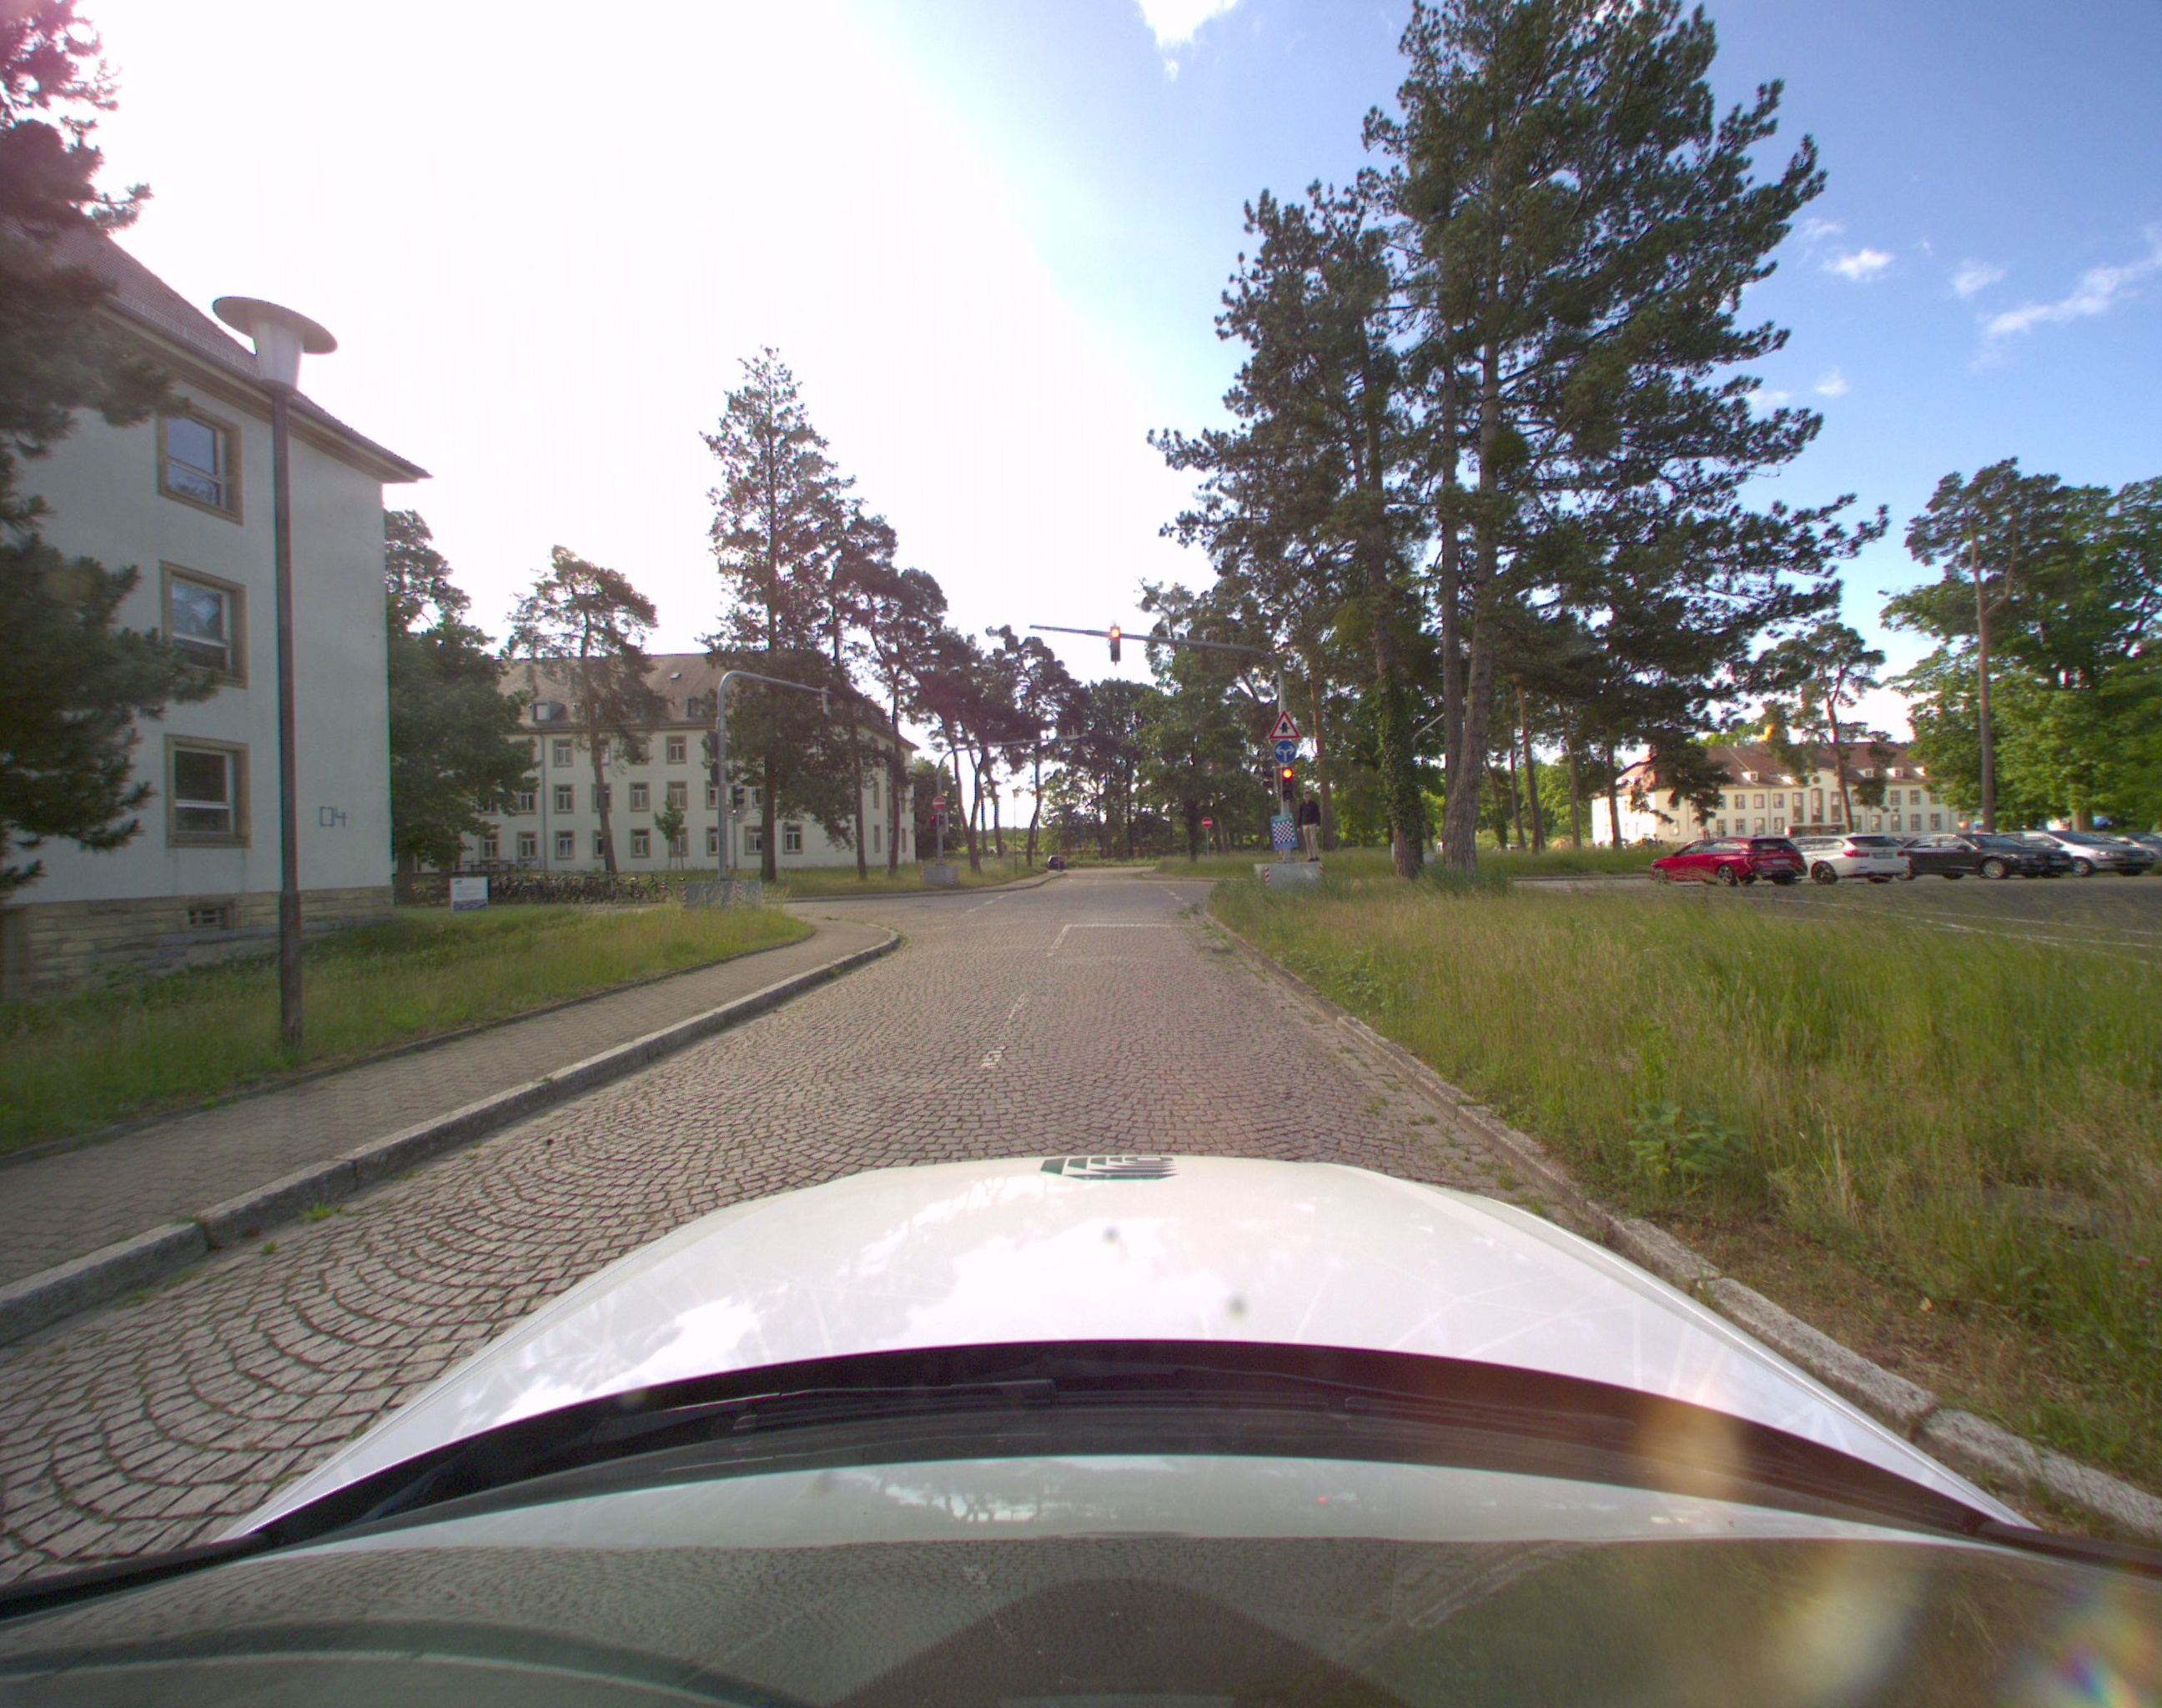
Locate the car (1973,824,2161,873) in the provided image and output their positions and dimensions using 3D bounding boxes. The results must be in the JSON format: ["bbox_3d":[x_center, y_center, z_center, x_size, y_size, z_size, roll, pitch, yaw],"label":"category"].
[{"bbox_3d":[30.169,-0.149,24.938,1.716,1.372,3.796,0,0,4],"label":"car"}]

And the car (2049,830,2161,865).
[{"bbox_3d":[44.900,-0.259,34.958,1.717,1.425,4.243,0,0,2],"label":"car"}]

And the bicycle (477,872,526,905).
[{"bbox_3d":[-23.525,1.373,33.102,0.512,1.220,1.938,-2,0,2],"label":"bicycle"}]

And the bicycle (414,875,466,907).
[{"bbox_3d":[-26.066,1.482,33.159,0.512,1.220,1.938,-2,0,2],"label":"bicycle"}]

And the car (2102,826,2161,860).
[{"bbox_3d":[47.917,-0.472,35.450,1.717,1.468,4.243,0,0,2],"label":"car"}]

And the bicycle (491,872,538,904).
[{"bbox_3d":[-22.980,1.370,33.071,0.512,1.220,1.938,-2,0,2],"label":"bicycle"}]

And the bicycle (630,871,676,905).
[{"bbox_3d":[-16.977,1.335,32.390,0.630,1.220,2.115,-2,0,2],"label":"bicycle"}]

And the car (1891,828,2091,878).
[{"bbox_3d":[27.256,-0.027,24.616,1.610,1.315,4.048,-3,0,3],"label":"car"}]

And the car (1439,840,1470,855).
[{"bbox_3d":[42.821,-0.743,93.471,1.820,1.582,4.164,-2,0,2],"label":"car"}]

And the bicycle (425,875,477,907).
[{"bbox_3d":[-25.618,1.479,33.145,0.512,1.220,1.938,-2,0,2],"label":"bicycle"}]

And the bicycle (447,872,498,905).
[{"bbox_3d":[-24.727,1.382,33.128,0.512,1.220,1.938,-2,0,2],"label":"bicycle"}]

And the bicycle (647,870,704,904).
[{"bbox_3d":[-15.743,1.284,31.611,1.855,1.220,0.635,-2,0,1],"label":"bicycle"}]

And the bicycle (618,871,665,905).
[{"bbox_3d":[-17.460,1.340,32.389,0.630,1.220,2.125,-2,0,2],"label":"bicycle"}]

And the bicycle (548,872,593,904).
[{"bbox_3d":[-20.732,1.361,33.111,0.512,1.220,2.016,-2,0,2],"label":"bicycle"}]

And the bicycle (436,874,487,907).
[{"bbox_3d":[-25.189,1.476,33.138,0.512,1.220,1.938,-2,0,2],"label":"bicycle"}]

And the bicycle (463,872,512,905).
[{"bbox_3d":[-24.117,1.378,33.130,0.512,1.220,1.938,-2,0,2],"label":"bicycle"}]

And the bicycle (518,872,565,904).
[{"bbox_3d":[-21.899,1.365,33.076,0.512,1.220,1.977,-2,0,2],"label":"bicycle"}]

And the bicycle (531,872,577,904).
[{"bbox_3d":[-21.381,1.366,33.074,0.512,1.220,1.977,-2,0,2],"label":"bicycle"}]

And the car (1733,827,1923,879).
[{"bbox_3d":[22.138,0.038,24.408,1.773,1.379,4.240,-2,-2,0],"label":"car"}]

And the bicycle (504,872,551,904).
[{"bbox_3d":[-22.425,1.366,33.052,0.512,1.220,1.955,-2,0,2],"label":"bicycle"}]

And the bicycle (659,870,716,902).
[{"bbox_3d":[-15.619,1.261,32.323,1.937,1.220,0.635,-2,0,1],"label":"bicycle"}]

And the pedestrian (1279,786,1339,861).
[{"bbox_3d":[5.805,-0.758,20.746,1.157,1.796,1.069,-2,0,31],"label":"pedestrian"}]

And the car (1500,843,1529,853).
[{"bbox_3d":[49.846,-0.713,93.681,1.713,1.087,4.009,-2,0,8],"label":"car"}]

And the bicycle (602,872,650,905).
[{"bbox_3d":[-18.064,1.344,32.406,0.630,1.220,2.105,-2,0,2],"label":"bicycle"}]

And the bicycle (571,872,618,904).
[{"bbox_3d":[-19.651,1.356,32.947,0.576,1.220,2.030,-2,0,2],"label":"bicycle"}]

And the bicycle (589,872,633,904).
[{"bbox_3d":[-18.908,1.349,32.805,0.570,1.220,1.990,-2,0,2],"label":"bicycle"}]

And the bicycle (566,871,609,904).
[{"bbox_3d":[-20.211,1.356,33.378,0.546,1.220,1.900,-2,0,2],"label":"bicycle"}]

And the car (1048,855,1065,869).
[{"bbox_3d":[-2.646,0.864,88.696,1.704,1.496,3.918,-2,0,0],"label":"car"}]

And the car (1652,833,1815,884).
[{"bbox_3d":[19.283,0.153,24.328,1.649,1.399,4.131,0,-1,2],"label":"car"}]

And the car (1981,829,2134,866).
[{"bbox_3d":[42.528,-0.277,35.649,1.717,1.493,4.243,0,0,2],"label":"car"}]
